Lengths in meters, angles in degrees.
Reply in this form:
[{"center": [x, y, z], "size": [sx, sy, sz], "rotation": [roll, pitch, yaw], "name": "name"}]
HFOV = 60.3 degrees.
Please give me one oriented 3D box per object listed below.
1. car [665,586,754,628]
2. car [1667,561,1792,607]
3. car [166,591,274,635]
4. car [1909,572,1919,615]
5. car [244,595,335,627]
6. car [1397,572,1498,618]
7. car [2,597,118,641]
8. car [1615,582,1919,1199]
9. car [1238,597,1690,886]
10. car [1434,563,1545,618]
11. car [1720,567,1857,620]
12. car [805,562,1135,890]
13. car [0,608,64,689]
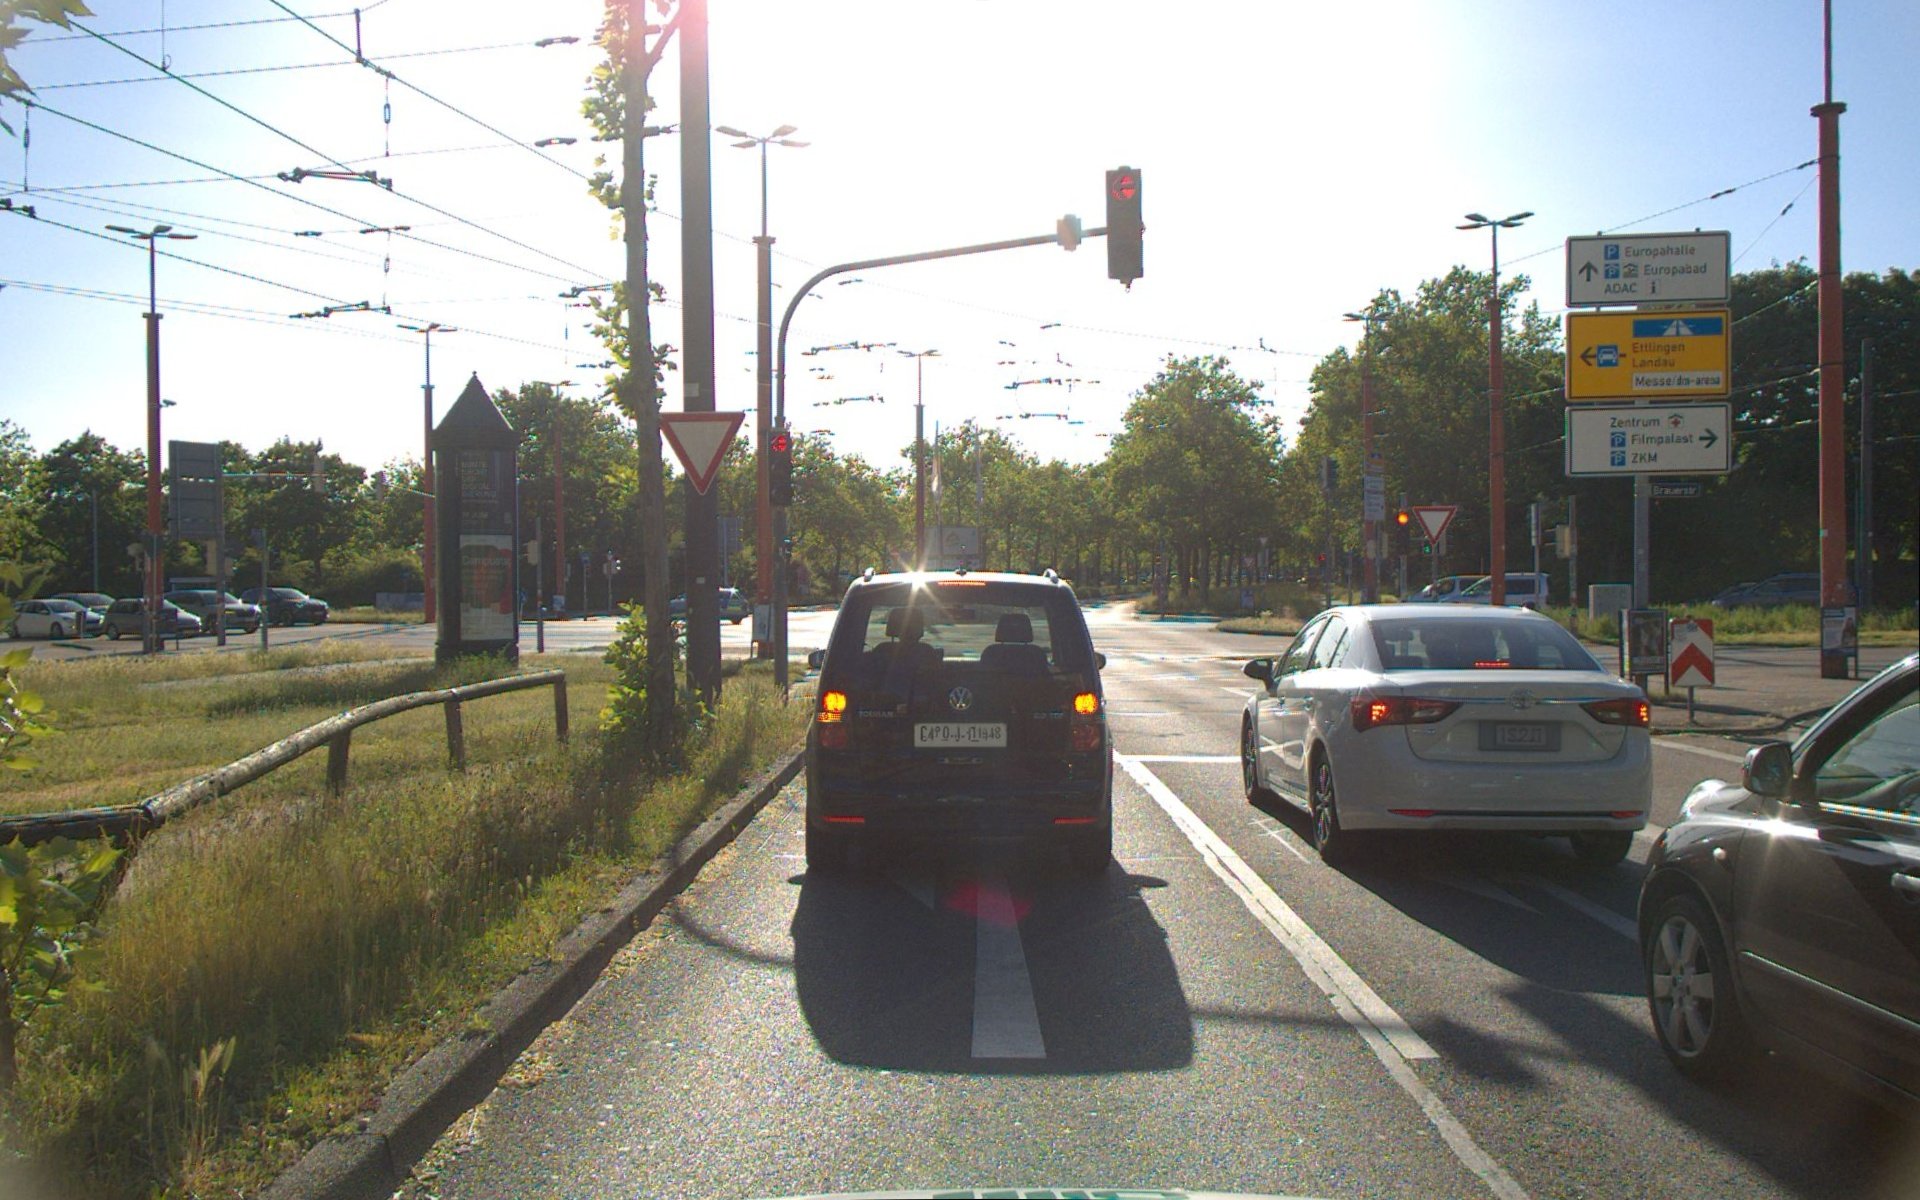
[{"center": [-10.521, 0.279, 69.358], "size": [1.788, 1.685, 4.050], "rotation": [0, 0, -42], "name": "car"}, {"center": [27.912, -0.583, 60.069], "size": [4.040, 1.537, 1.821], "rotation": [1, 0, 26], "name": "car"}, {"center": [-28.944, 0.477, 64.671], "size": [3.913, 1.673, 1.996], "rotation": [0, 0, 31], "name": "car"}, {"center": [34.689, -0.172, 56.426], "size": [3.887, 1.466, 1.685], "rotation": [1, 0, 27], "name": "car"}, {"center": [-29.269, 0.449, 72.170], "size": [3.913, 1.353, 1.694], "rotation": [0, 0, 31], "name": "car"}, {"center": [19.117, -0.199, 64.805], "size": [3.570, 1.684, 1.679], "rotation": [1, 0, 25], "name": "car"}, {"center": [-34.664, 0.693, 63.689], "size": [4.091, 1.640, 1.867], "rotation": [0, 0, 25], "name": "car"}, {"center": [3.170, 0.731, 4.120], "size": [1.620, 1.526, 3.614], "rotation": [1, 0, 0], "name": "car"}, {"center": [2.967, 0.730, 10.677], "size": [1.685, 1.463, 4.198], "rotation": [1, 0, 1], "name": "car"}, {"center": [19.552, -0.345, 61.045], "size": [3.754, 1.923, 1.763], "rotation": [1, 0, 22], "name": "car"}, {"center": [28.228, -0.224, 56.460], "size": [4.097, 1.673, 1.758], "rotation": [1, 0, 26], "name": "car"}, {"center": [0.019, 0.623, 10.320], "size": [1.666, 1.650, 3.896], "rotation": [0, 0, -1], "name": "car"}, {"center": [-19.488, 0.958, 32.217], "size": [1.769, 1.549, 4.329], "rotation": [0, 0, -1], "name": "car"}]
